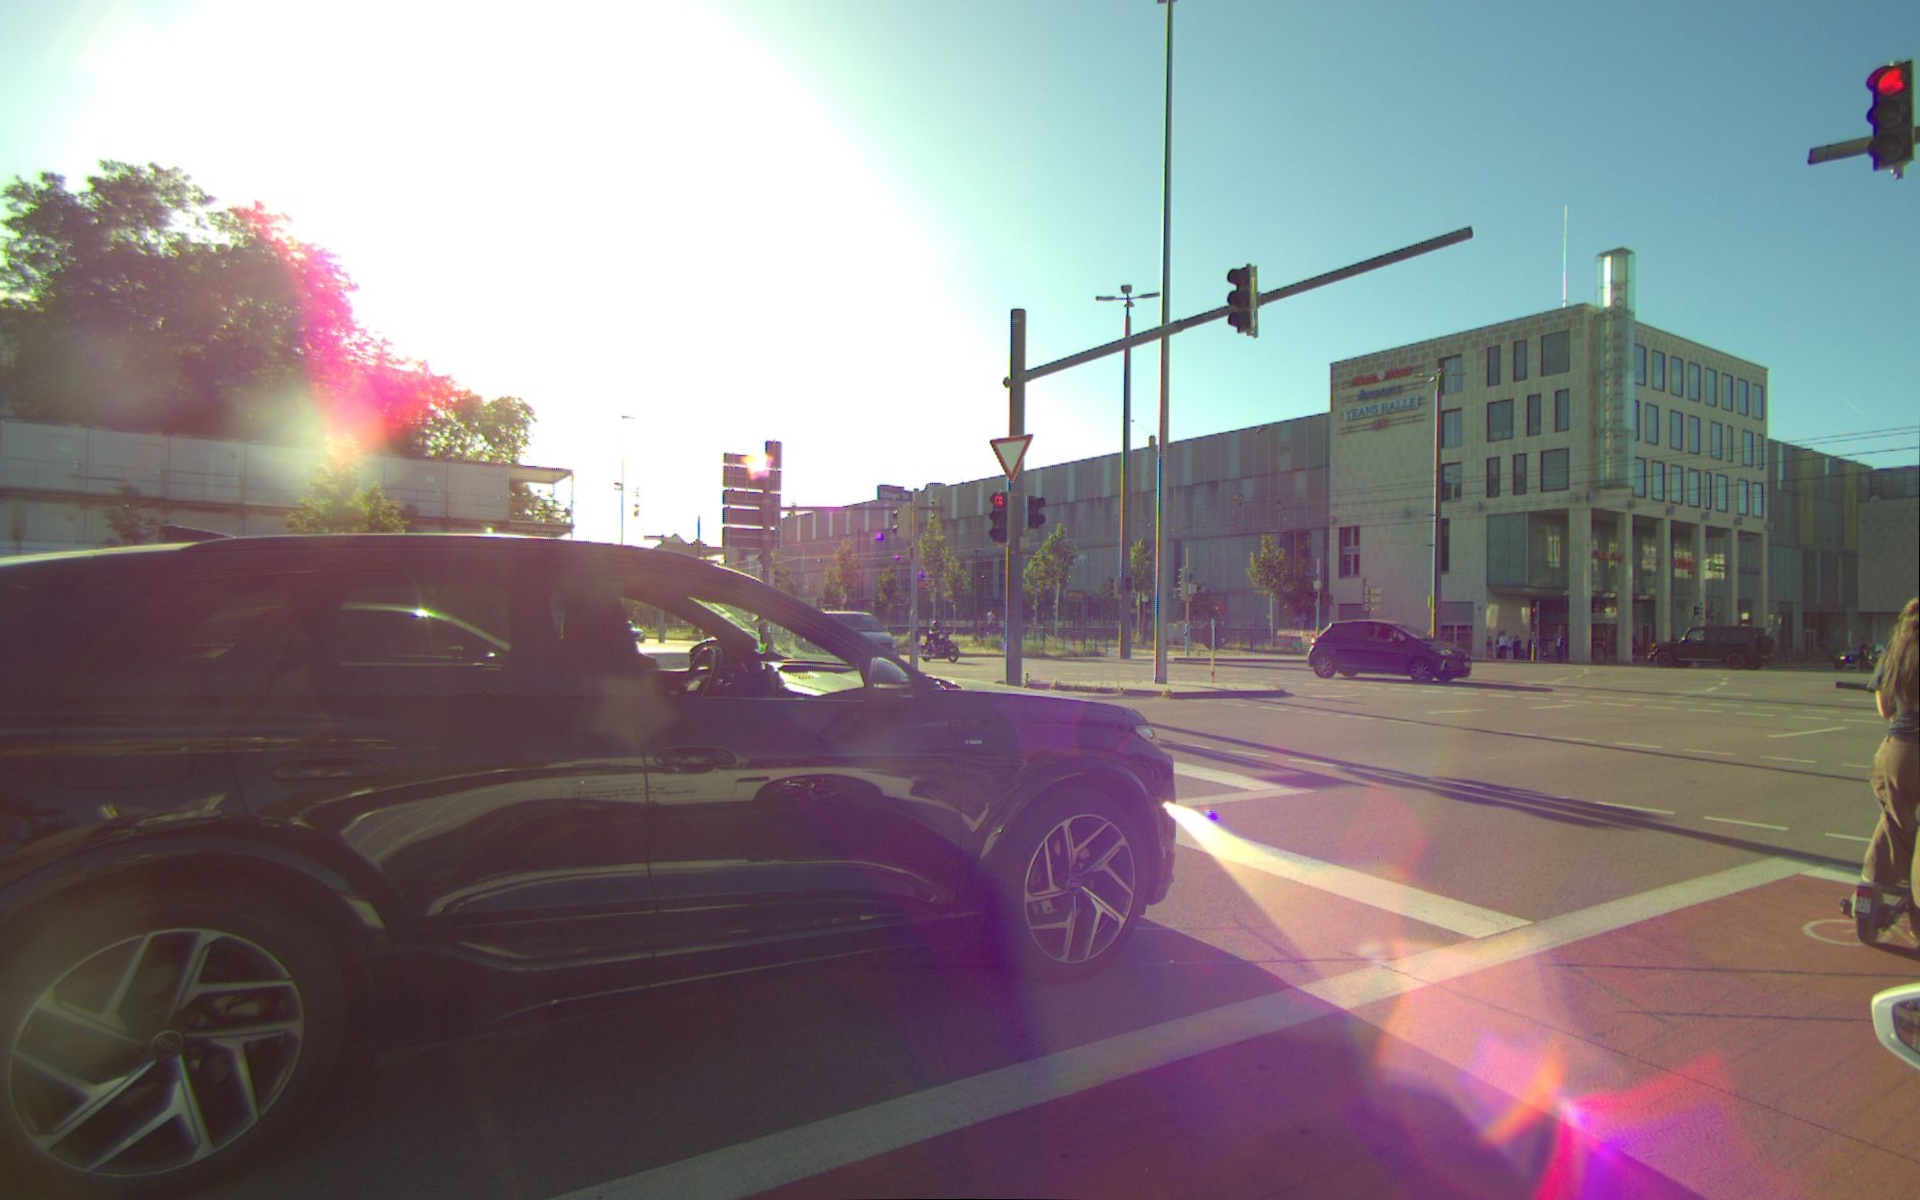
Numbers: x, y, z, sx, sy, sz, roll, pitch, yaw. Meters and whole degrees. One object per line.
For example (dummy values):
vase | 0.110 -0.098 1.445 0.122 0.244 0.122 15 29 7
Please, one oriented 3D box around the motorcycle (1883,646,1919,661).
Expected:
motorcycle | 70.841 4.007 75.080 1.106 1.006 2.582 2 0 -38

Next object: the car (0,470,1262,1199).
car | -1.203 0.608 4.085 4.613 1.729 2.154 1 0 -32

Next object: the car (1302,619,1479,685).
car | 10.904 1.267 25.605 1.660 1.530 3.824 2 -2 -44

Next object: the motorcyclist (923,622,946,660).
motorcyclist | -1.004 1.600 39.400 0.650 1.442 0.644 -1 0 44

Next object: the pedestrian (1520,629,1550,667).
pedestrian | 26.168 2.192 45.708 0.994 1.697 0.818 1 -1 -33

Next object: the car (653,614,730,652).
car | -14.059 1.691 52.417 1.873 1.888 4.771 2 -2 -43

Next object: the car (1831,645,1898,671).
car | 49.785 3.175 55.285 3.975 1.375 1.668 1 -1 -31

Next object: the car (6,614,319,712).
car | -13.354 1.021 17.179 3.935 1.500 1.867 1 -1 -31

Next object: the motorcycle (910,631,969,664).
motorcycle | -0.825 1.837 39.222 2.567 1.224 0.725 -1 -1 44

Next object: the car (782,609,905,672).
car | -3.944 1.300 33.284 1.871 1.947 4.879 1 -2 -37

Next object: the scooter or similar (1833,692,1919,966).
scooter or similar | 4.336 1.016 4.675 0.832 1.122 0.303 2 -1 -42

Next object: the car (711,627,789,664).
car | -8.476 1.798 40.281 1.711 1.395 3.905 1 -2 -34

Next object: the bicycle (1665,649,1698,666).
bicycle | 39.954 3.157 55.602 2.191 0.915 0.633 1 -1 -29

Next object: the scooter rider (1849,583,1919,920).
scooter rider | 4.610 0.700 4.741 0.445 1.550 0.548 1 -1 -38

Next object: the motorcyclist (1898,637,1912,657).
motorcyclist | 70.896 3.536 75.346 0.657 1.424 0.623 2 0 -38

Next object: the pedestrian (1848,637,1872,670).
pedestrian | 45.005 2.674 50.248 0.619 1.660 0.772 1 -1 -34

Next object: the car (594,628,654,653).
car | -22.293 2.660 66.532 1.985 1.585 5.037 2 -2 -42

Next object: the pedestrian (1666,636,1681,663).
pedestrian | 45.153 3.123 63.542 0.622 1.667 0.589 1 -1 -30

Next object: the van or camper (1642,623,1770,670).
van or camper | 34.519 2.121 46.576 1.974 2.040 4.388 1 -1 -34
